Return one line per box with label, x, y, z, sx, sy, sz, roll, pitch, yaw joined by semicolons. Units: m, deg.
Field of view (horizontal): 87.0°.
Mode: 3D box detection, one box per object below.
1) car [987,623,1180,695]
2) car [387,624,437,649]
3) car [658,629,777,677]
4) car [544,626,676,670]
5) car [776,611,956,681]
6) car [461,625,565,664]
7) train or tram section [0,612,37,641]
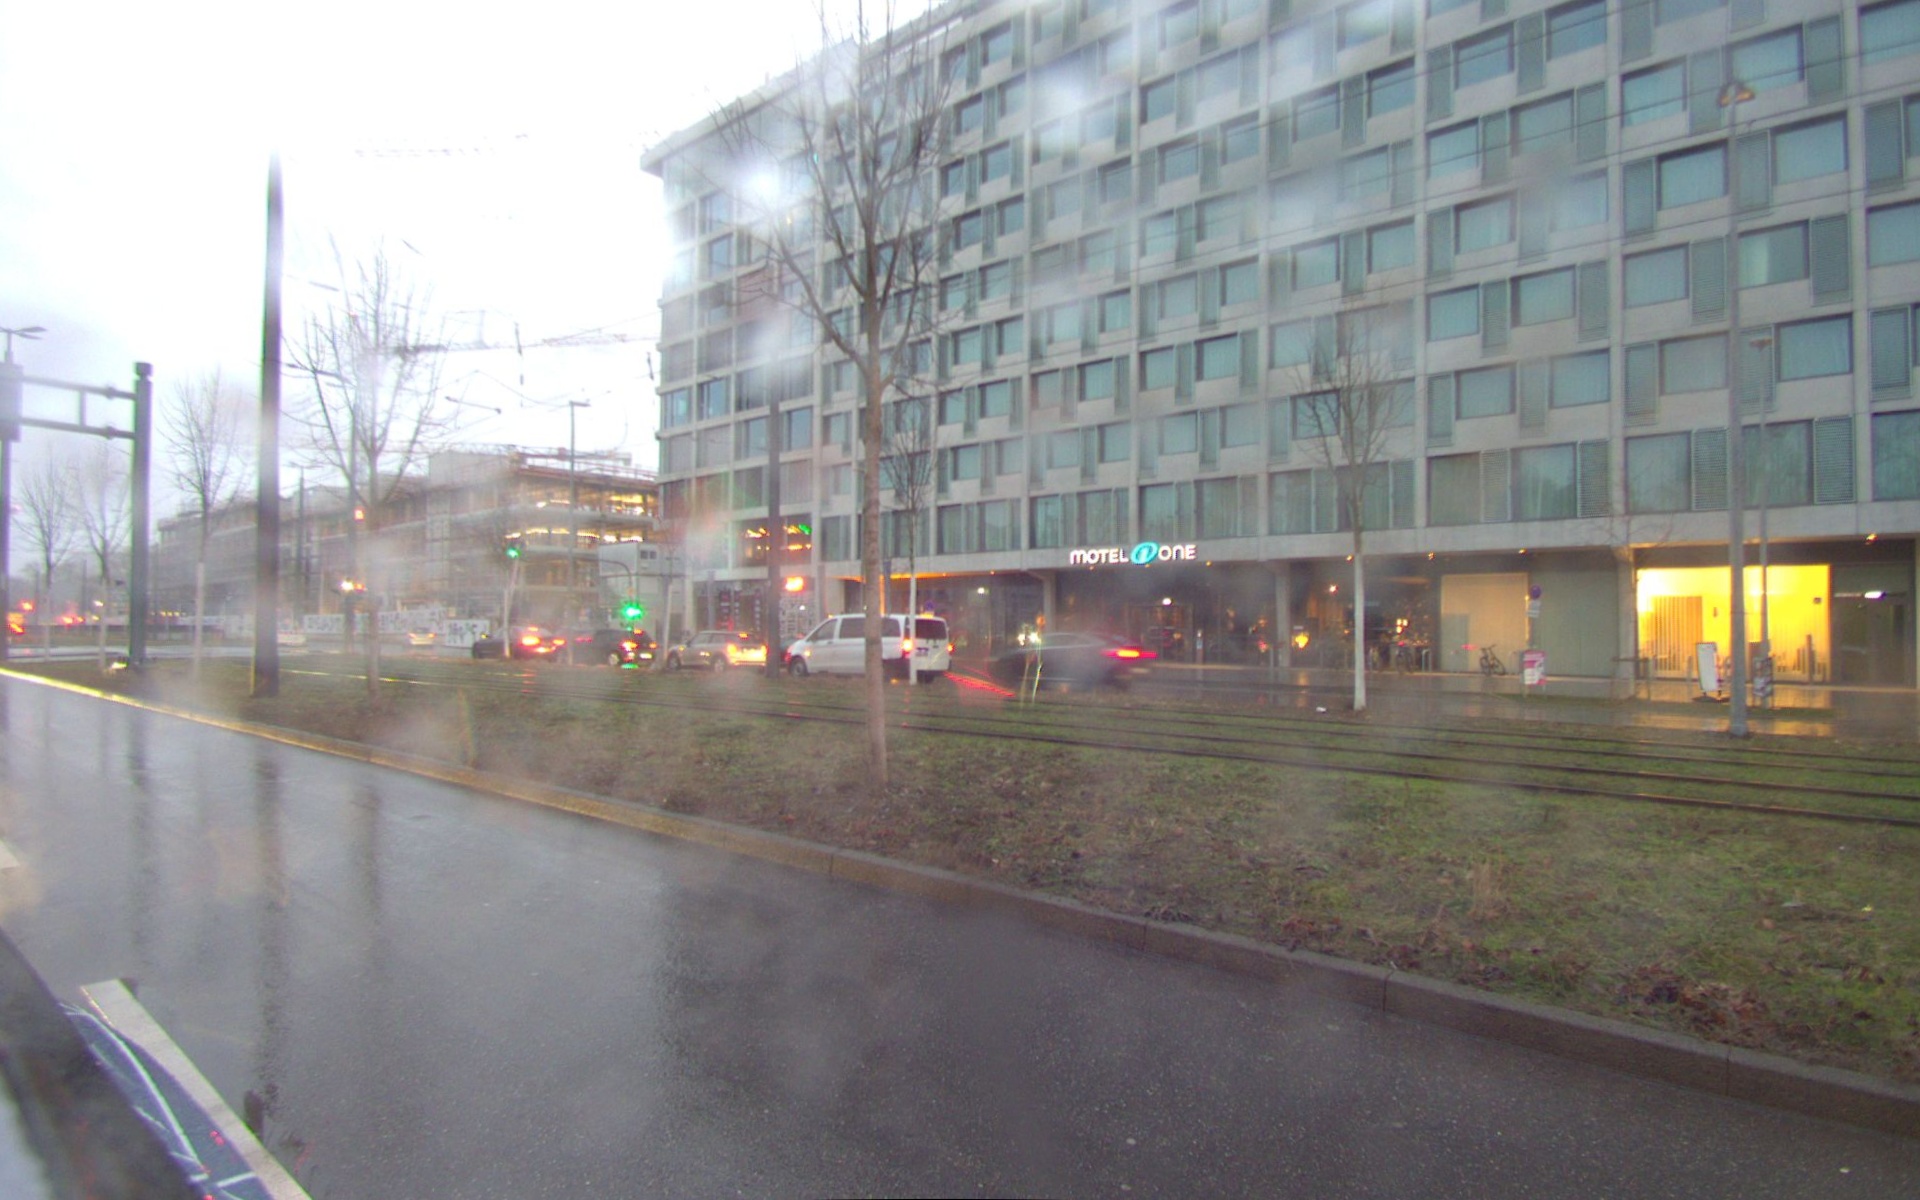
car;3.181;1.491;26.833;4.914;1.732;1.876;-1;-2;41
car;-39.007;2.556;71.976;1.874;1.732;4.920;2;-2;-44
car;-7.798;1.664;32.426;3.704;1.442;1.876;-1;-3;41
car;-12.752;1.726;36.861;4.425;1.508;1.983;-1;-2;26
car;-2.639;1.215;27.382;5.116;1.732;1.876;-2;-3;42
car;-18.145;1.767;40.994;5.032;1.479;1.972;-2;-3;42
train or tram section;-121.394;3.401;129.881;14.261;3.513;2.925;-2;-3;42
